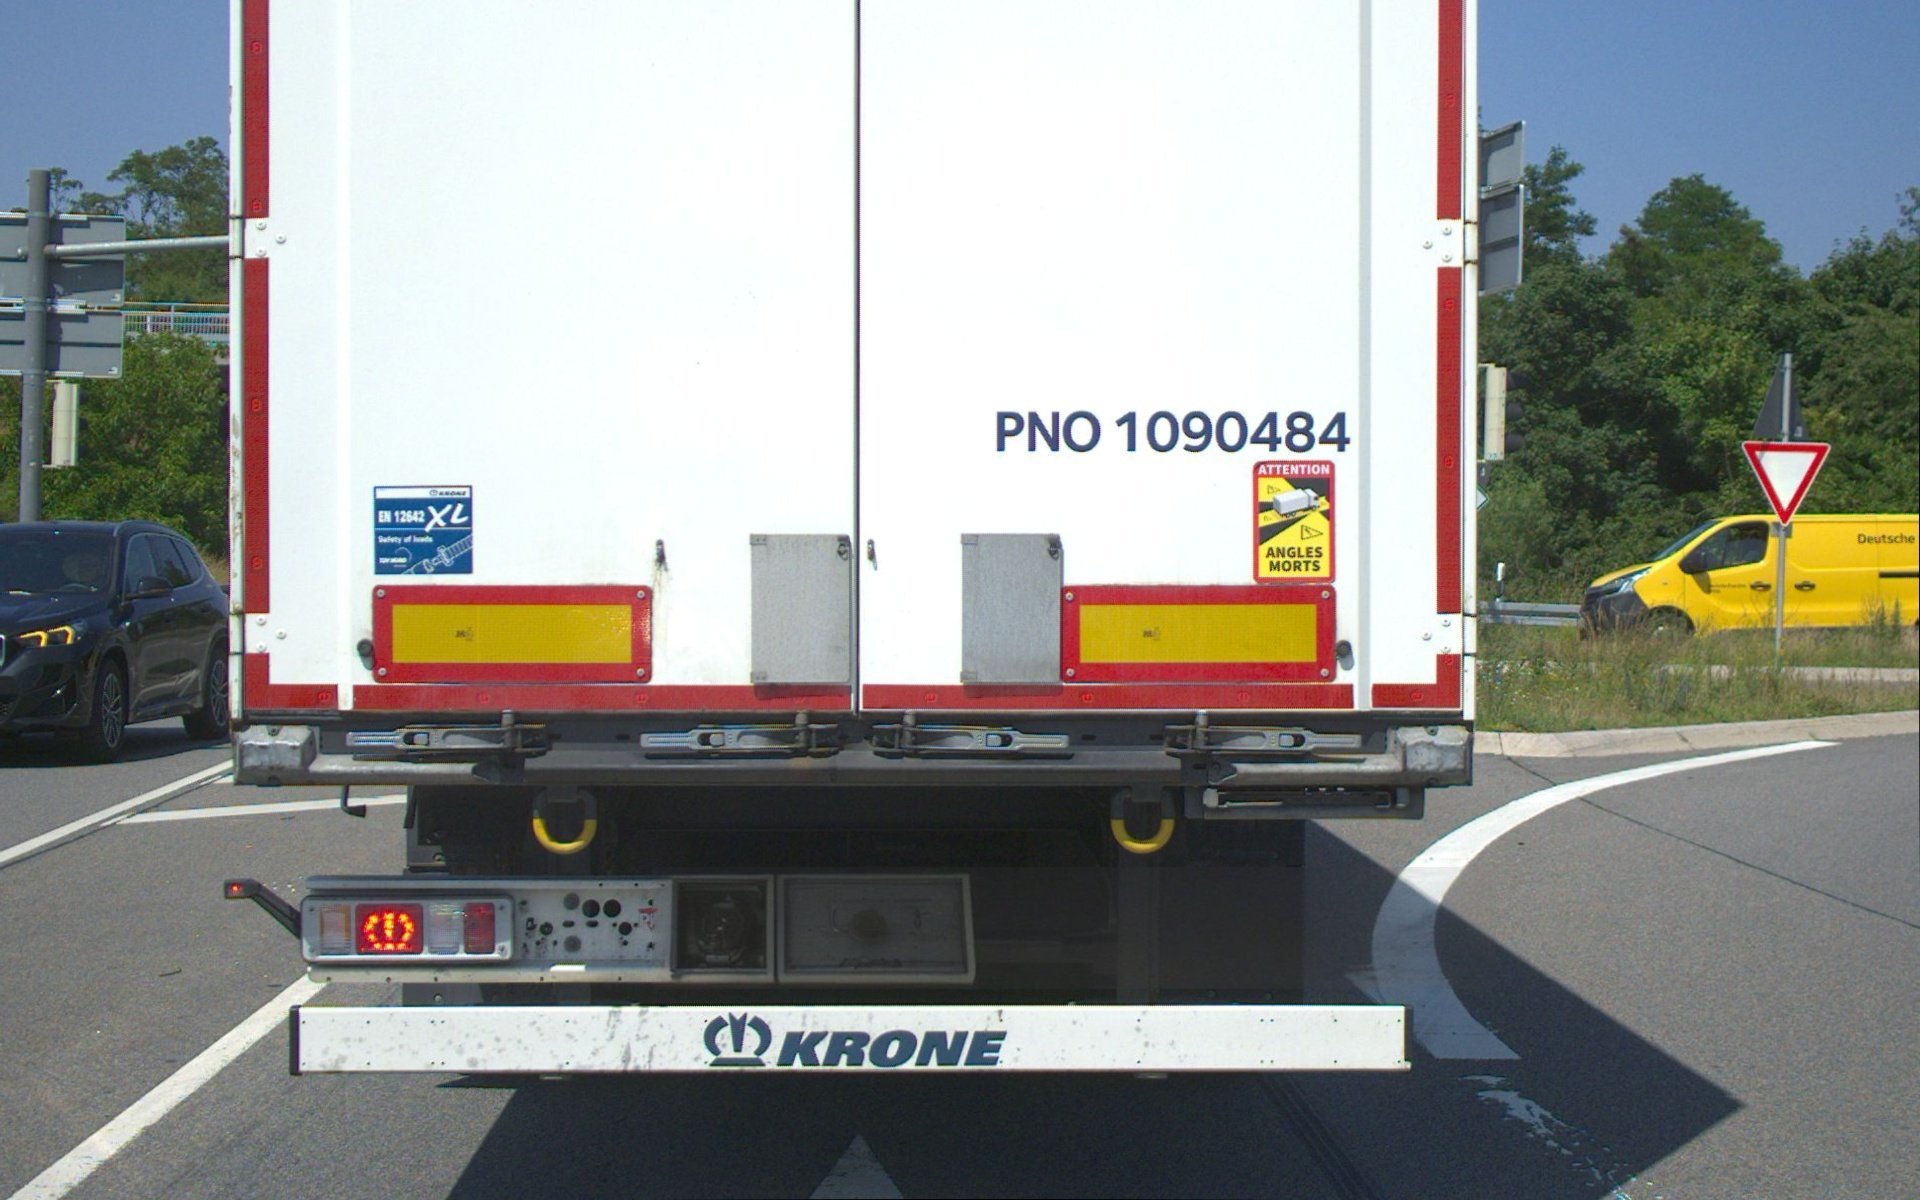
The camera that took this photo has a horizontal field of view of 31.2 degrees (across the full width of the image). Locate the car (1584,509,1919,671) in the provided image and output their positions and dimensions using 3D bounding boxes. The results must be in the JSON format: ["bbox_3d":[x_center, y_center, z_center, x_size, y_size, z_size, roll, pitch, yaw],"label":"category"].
[{"bbox_3d":[10.918,-0.129,44.504,5.322,2.007,2.000,1,0,2],"label":"car"}]

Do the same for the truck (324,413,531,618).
[{"bbox_3d":[-9.691,-1.489,63.342,2.644,3.526,7.890,1,0,-1],"label":"truck"}]

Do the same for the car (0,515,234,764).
[{"bbox_3d":[-6.468,0.215,24.296,1.762,1.592,4.501,0,1,-1],"label":"car"}]

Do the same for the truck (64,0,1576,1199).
[{"bbox_3d":[-0.374,-0.657,11.777,2.987,3.928,9.876,1,1,-1],"label":"truck"}]
